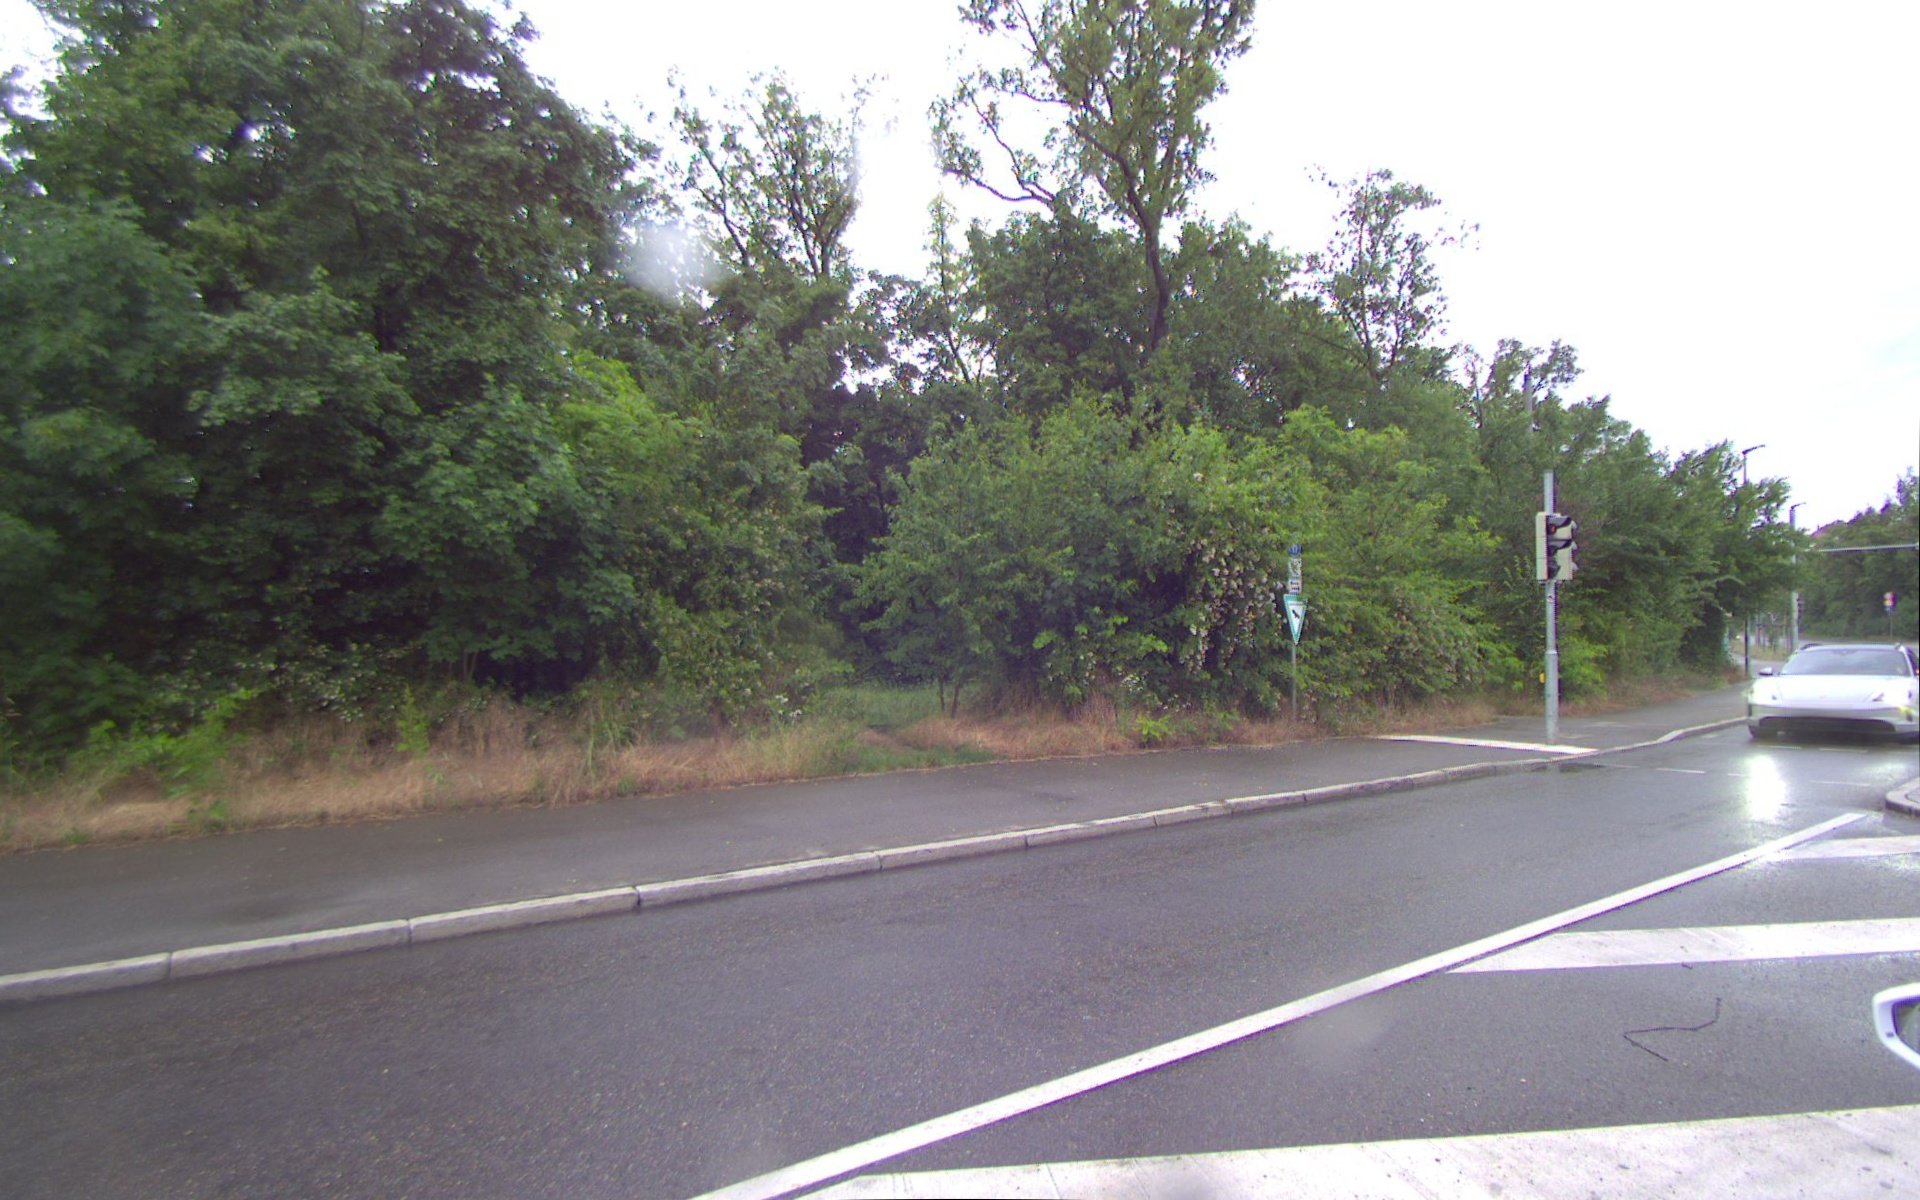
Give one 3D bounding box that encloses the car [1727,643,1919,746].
[{"bbox_3d":[13.654,1.377,15.507,4.324,1.328,1.977,1,-4,-40],"label":"car"}]
